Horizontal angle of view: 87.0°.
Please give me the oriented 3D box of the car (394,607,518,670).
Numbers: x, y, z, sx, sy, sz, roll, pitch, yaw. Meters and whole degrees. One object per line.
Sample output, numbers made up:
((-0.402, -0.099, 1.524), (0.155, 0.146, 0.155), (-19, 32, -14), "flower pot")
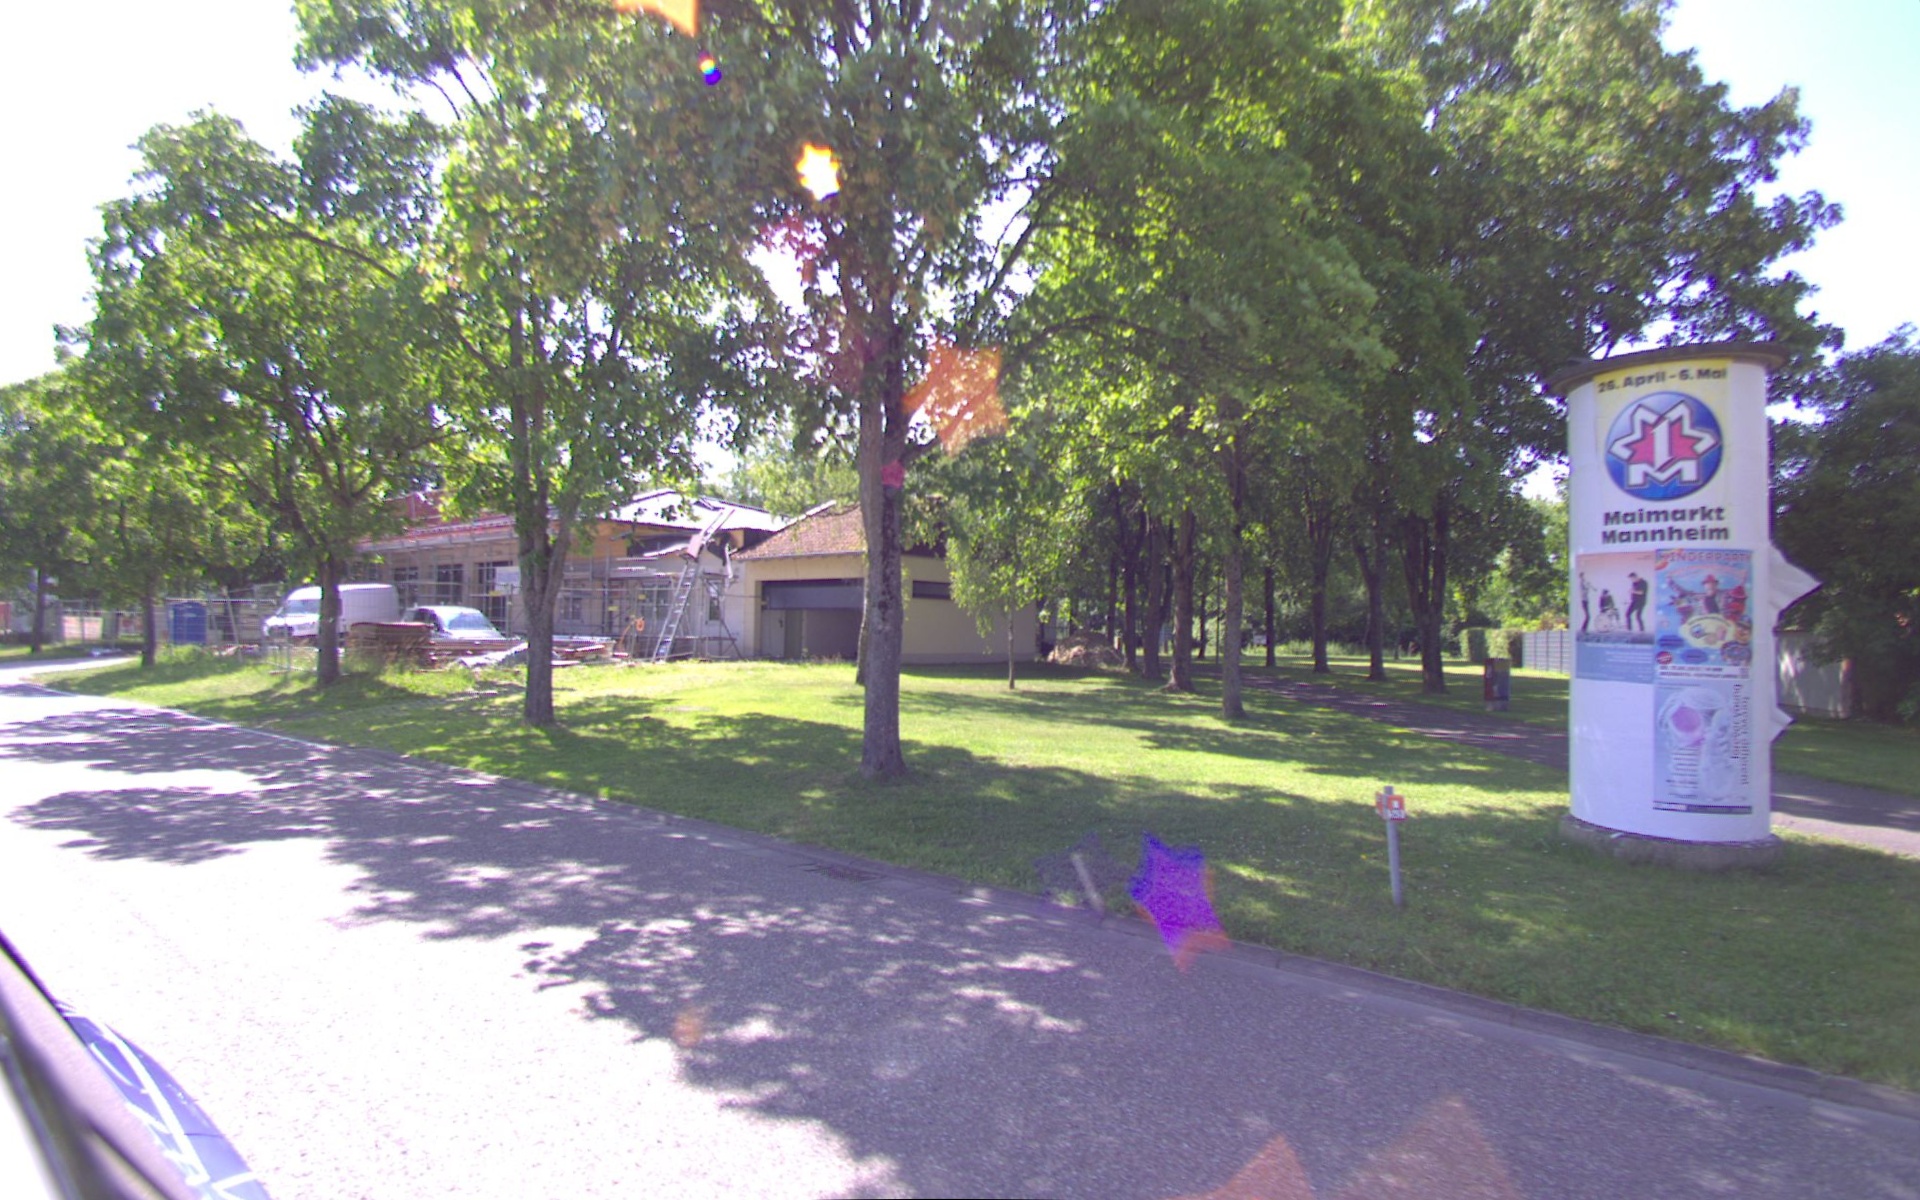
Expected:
((-15.990, 1.179, 32.028), (4.324, 1.852, 1.950), (-1, -2, 40), "car")

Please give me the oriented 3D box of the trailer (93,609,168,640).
((-65.525, 1.965, 80.010), (1.819, 2.295, 4.199), (0, -3, 26), "trailer")

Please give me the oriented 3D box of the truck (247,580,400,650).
((-24.572, 0.617, 39.419), (1.974, 2.502, 5.926), (1, -1, 3), "truck")
